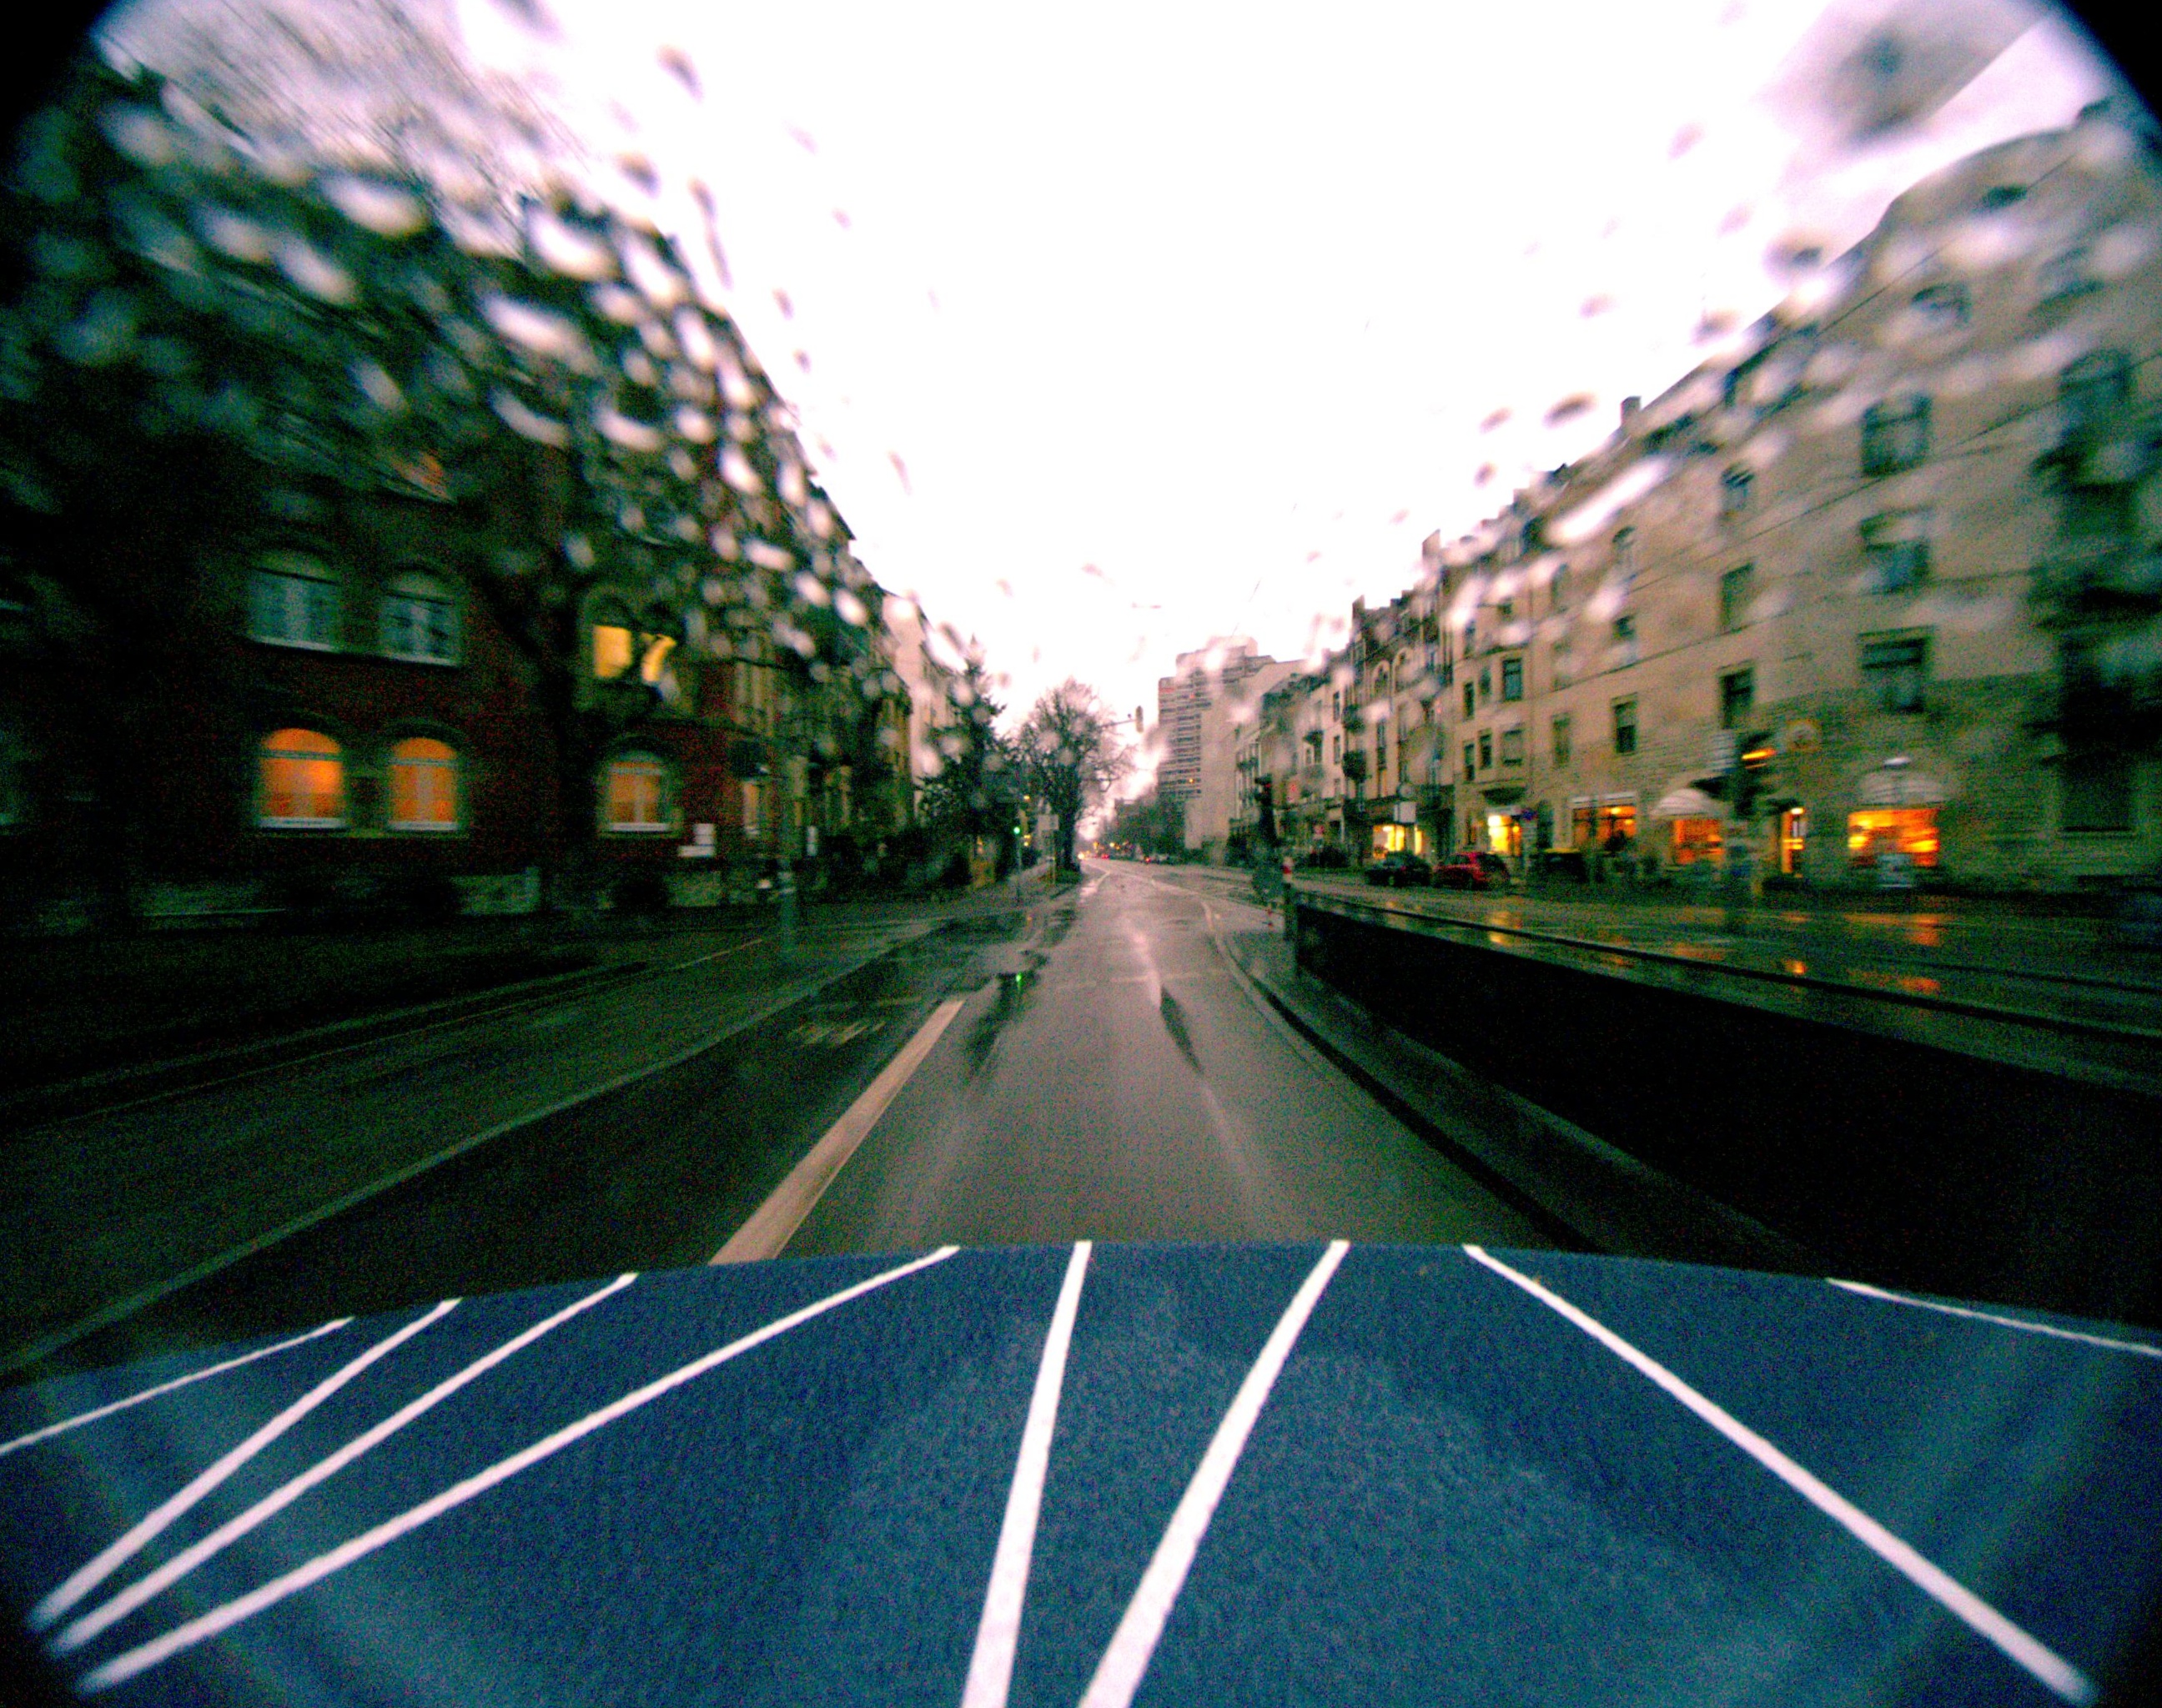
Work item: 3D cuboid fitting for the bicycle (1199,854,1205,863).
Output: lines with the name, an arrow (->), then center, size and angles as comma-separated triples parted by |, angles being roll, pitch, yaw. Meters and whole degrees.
bicycle -> 14.391, 0.486, 90.442 | 0.435, 1.001, 1.881 | -4, 1, 1

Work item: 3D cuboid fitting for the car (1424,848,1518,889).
car -> 16.344, 0.584, 32.023 | 1.677, 1.507, 3.677 | -4, 0, -7

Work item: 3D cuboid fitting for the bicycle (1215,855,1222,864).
bicycle -> 14.629, 0.588, 80.948 | 0.442, 0.827, 1.767 | -4, 1, 1

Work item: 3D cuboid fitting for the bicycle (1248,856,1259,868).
bicycle -> 14.893, 0.694, 65.564 | 0.530, 0.934, 2.086 | -4, 1, 3

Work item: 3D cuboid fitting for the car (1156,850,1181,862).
car -> 14.291, 0.290, 124.173 | 3.840, 1.707, 1.727 | -3, 0, 0

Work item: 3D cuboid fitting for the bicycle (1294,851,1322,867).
bicycle -> 17.777, 0.387, 59.594 | 1.989, 1.152, 0.531 | -4, 1, -2

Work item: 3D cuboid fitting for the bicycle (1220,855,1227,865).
bicycle -> 14.824, 0.588, 79.136 | 0.435, 1.001, 1.712 | -4, 1, 1

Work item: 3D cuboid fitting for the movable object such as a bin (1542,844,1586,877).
movable object such as a bin -> 21.074, 0.290, 33.189 | 1.004, 1.364, 1.274 | -4, 1, -2

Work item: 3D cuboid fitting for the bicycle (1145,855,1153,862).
bicycle -> 9.653, 0.606, 107.635 | 0.649, 0.884, 1.712 | 1, 0, -8

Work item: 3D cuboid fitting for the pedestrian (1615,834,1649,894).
pedestrian -> 17.820, 0.308, 24.586 | 0.796, 1.867, 0.896 | -3, 1, 35

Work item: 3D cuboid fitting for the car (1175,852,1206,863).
car -> 14.672, 0.454, 101.983 | 3.840, 1.405, 1.727 | -1, 0, 0

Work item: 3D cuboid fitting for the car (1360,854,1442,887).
car -> 15.654, 0.776, 37.429 | 1.807, 1.382, 4.507 | -4, 0, -4

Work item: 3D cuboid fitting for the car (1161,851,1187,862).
car -> 14.381, 0.400, 117.771 | 3.840, 1.405, 1.727 | -4, 1, 0

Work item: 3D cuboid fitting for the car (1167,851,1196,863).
car -> 14.206, 0.373, 107.457 | 3.840, 1.405, 1.727 | -4, 1, 0

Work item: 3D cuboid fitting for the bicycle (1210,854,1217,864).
bicycle -> 14.567, 0.562, 83.254 | 0.435, 1.001, 1.605 | -4, 1, 1

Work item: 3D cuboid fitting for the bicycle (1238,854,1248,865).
bicycle -> 14.962, 0.503, 70.243 | 0.530, 0.884, 2.209 | -4, 0, 3

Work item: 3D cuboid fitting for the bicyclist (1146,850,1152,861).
bicyclist -> 9.655, 0.173, 107.685 | 0.658, 1.492, 0.658 | 1, 1, -9

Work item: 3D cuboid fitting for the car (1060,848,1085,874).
car -> -0.704, 0.534, 60.363 | 1.726, 1.934, 4.507 | -4, 0, -2

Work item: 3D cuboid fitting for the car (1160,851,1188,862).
car -> 13.851, 0.432, 113.274 | 3.840, 1.405, 1.727 | -3, 0, 0

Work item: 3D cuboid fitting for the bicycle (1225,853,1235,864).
bicycle -> 14.836, 0.420, 75.665 | 0.485, 1.001, 2.209 | -4, 1, 1

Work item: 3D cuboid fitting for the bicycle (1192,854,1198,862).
bicycle -> 14.318, 0.527, 95.386 | 0.469, 1.001, 1.881 | -4, 1, 1

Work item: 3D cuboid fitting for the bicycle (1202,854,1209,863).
bicycle -> 14.477, 0.516, 88.435 | 0.435, 1.001, 1.881 | -4, 1, 1

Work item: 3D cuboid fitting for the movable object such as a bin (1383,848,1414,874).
movable object such as a bin -> 18.352, 0.397, 43.913 | 1.239, 1.423, 1.074 | -4, 1, -2

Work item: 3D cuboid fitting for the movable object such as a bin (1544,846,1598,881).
movable object such as a bin -> 20.502, 0.380, 31.816 | 1.352, 1.364, 1.281 | -4, 1, -2

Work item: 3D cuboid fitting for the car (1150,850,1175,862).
car -> 13.614, 0.278, 126.985 | 3.840, 1.707, 1.727 | -4, 1, 0

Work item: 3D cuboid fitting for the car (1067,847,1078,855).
car -> -1.551, -0.483, 139.417 | 1.726, 1.405, 3.841 | -1, 0, -4

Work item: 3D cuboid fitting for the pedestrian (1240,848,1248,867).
pedestrian -> 14.208, 0.307, 66.249 | 0.573, 1.633, 0.449 | -4, 1, 3

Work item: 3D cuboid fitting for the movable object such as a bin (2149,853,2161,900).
movable object such as a bin -> 26.427, 0.536, 18.282 | 0.647, 1.129, 0.693 | 0, 1, 36

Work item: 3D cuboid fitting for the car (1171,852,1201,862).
car -> 14.443, 0.435, 104.653 | 3.840, 1.405, 1.727 | 0, 0, 0

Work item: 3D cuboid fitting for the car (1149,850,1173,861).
car -> 13.730, 0.225, 130.941 | 3.840, 1.707, 1.727 | -4, 1, 0
